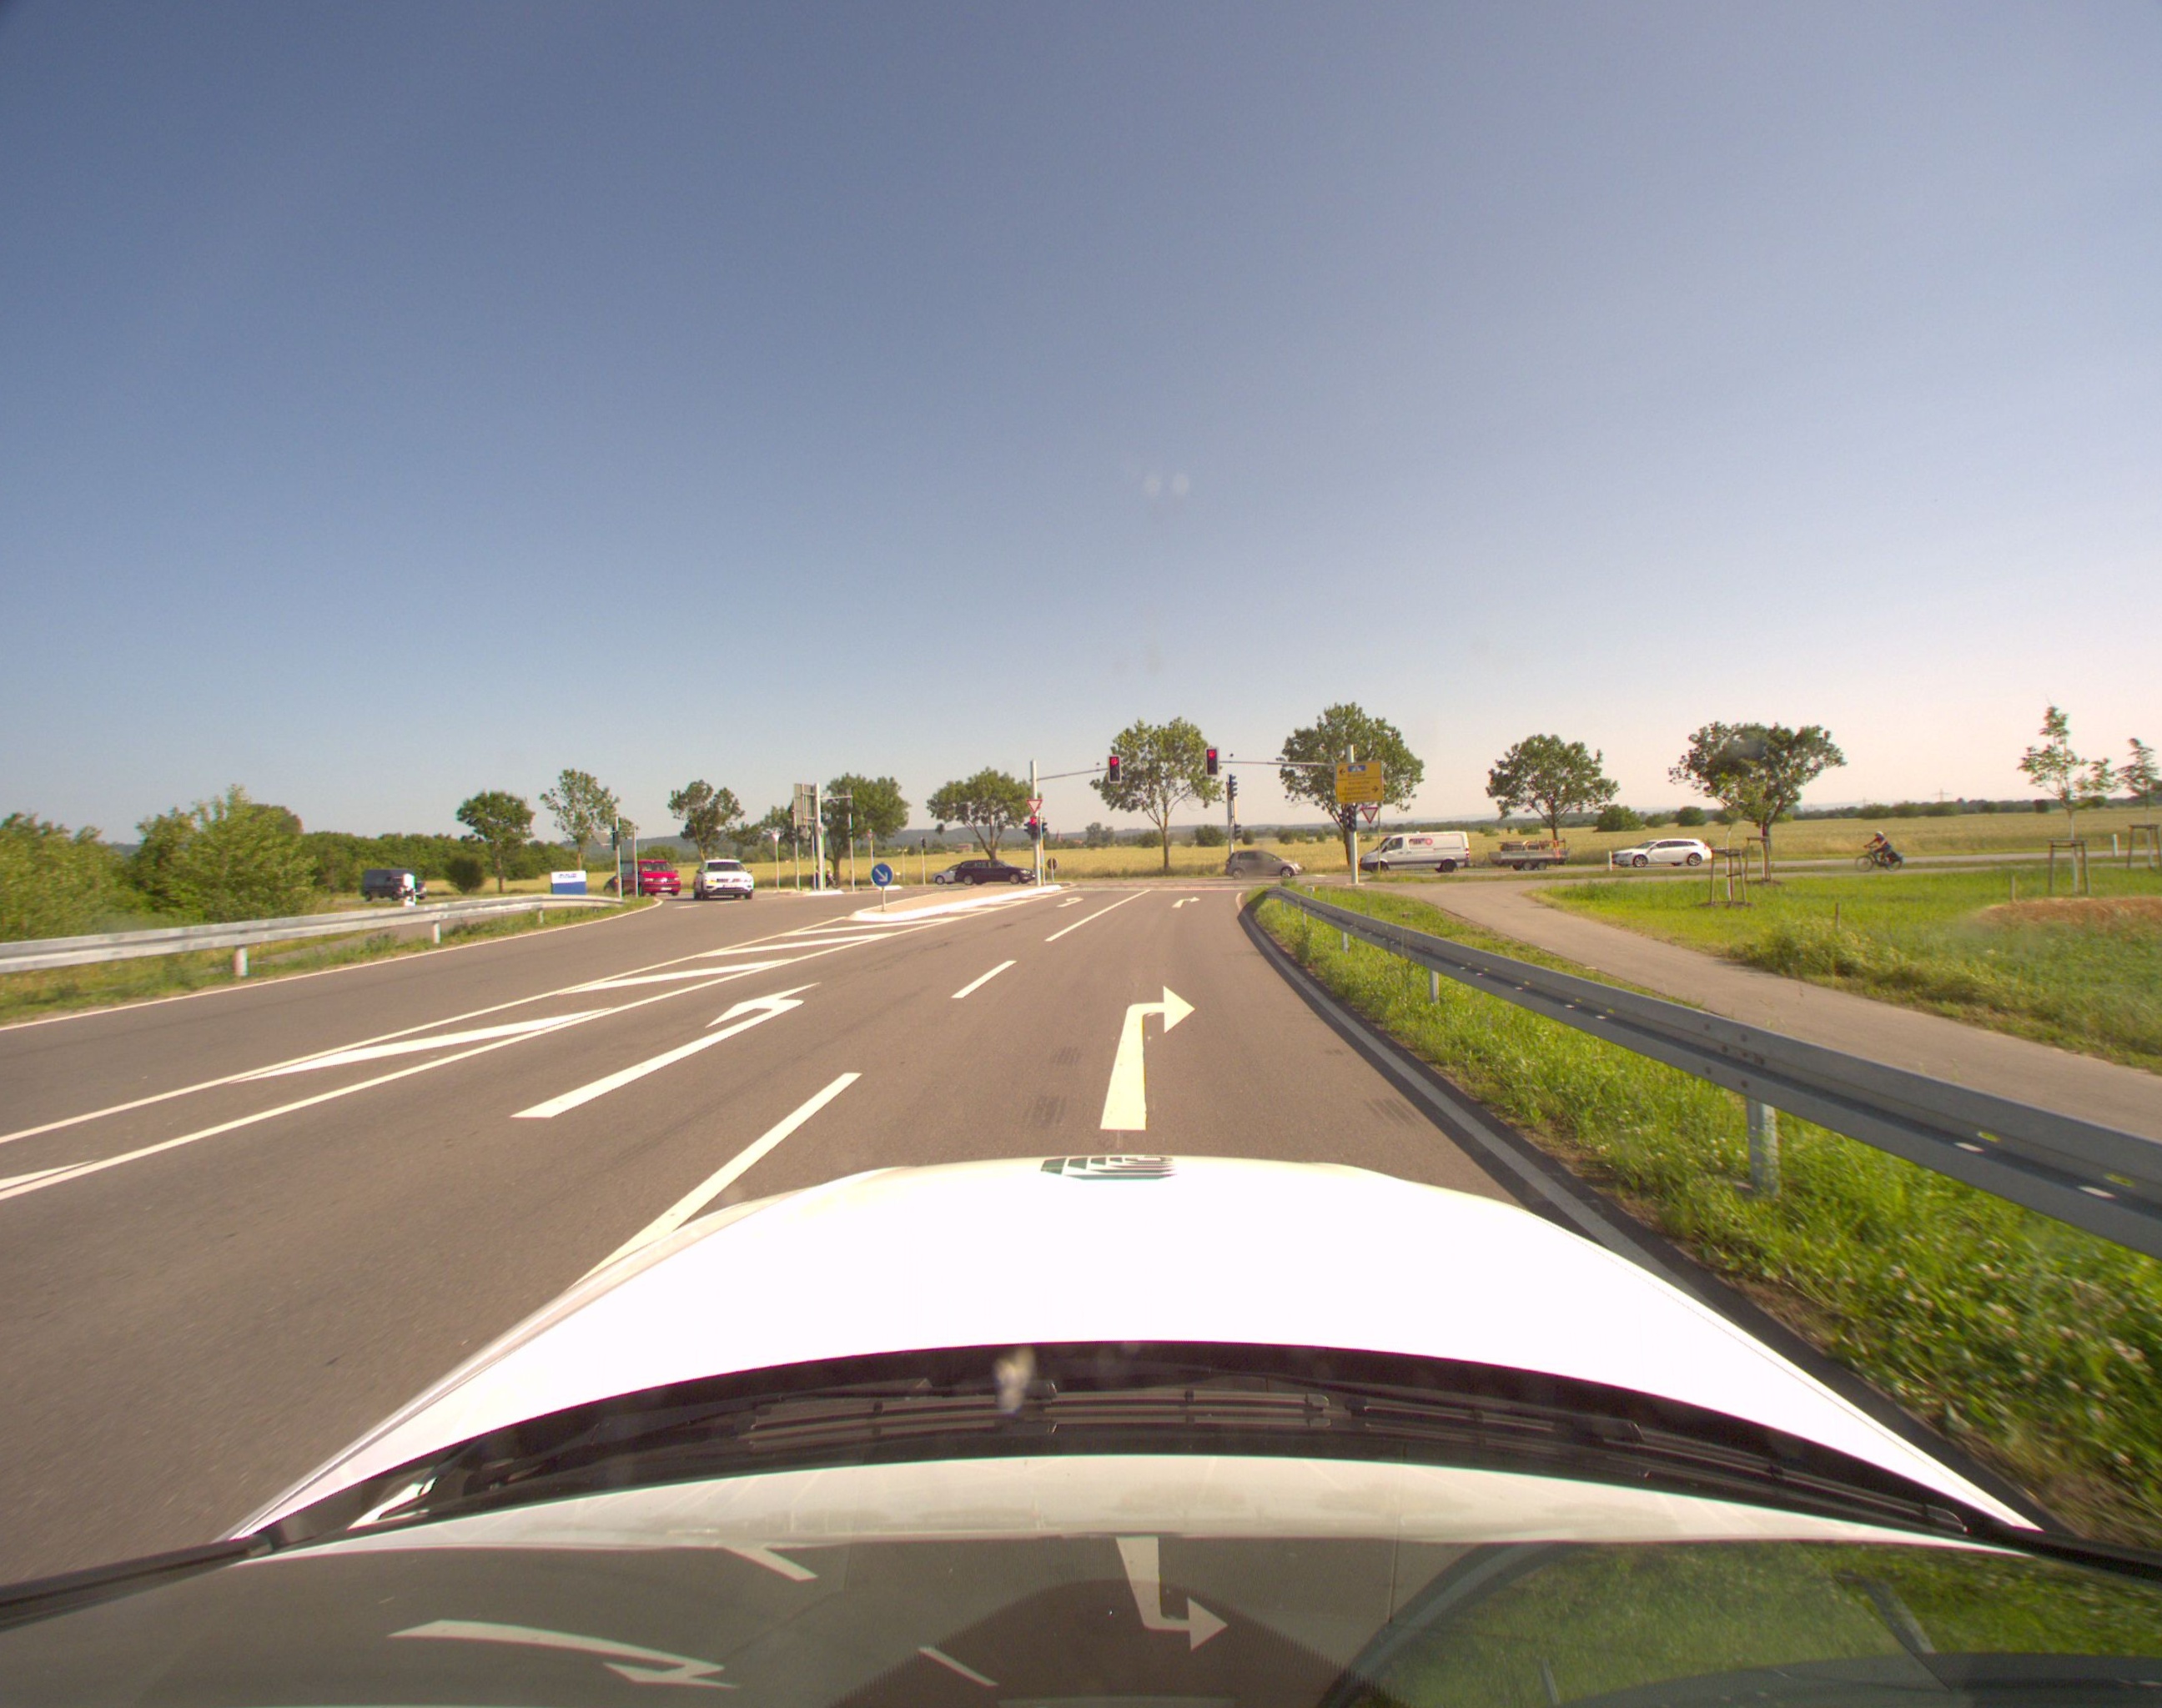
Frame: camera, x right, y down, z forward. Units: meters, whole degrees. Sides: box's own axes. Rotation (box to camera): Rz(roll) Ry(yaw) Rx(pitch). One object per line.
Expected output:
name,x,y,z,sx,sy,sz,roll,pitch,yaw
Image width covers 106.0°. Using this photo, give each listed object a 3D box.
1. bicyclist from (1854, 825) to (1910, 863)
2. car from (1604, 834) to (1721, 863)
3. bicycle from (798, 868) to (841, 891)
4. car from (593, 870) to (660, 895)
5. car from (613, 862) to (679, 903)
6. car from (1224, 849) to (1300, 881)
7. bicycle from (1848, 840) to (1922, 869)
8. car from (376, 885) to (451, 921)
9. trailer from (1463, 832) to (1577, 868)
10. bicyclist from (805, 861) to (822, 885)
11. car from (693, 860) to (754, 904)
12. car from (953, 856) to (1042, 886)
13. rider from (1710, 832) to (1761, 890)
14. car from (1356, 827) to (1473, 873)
bicyclist,34.531,-0.437,35.113,1.272,1.601,1.168,-1,1,7
car,31.762,-0.292,44.608,4.842,1.510,2.004,0,-1,7
bicycle,-16.562,1.602,51.549,2.478,1.397,0.733,0,-1,6
car,-30.571,1.930,54.786,3.698,1.457,1.737,-3,1,17
car,-23.418,1.468,43.759,1.850,1.940,4.866,-3,2,-43
car,9.782,0.598,44.201,3.932,1.668,1.768,0,-1,8
bicycle,34.666,0.021,35.125,2.144,1.186,0.892,-1,-1,7
car,-51.460,3.794,62.772,5.679,2.622,2.045,-2,0,24
trailer,24.407,-0.212,45.502,5.228,1.753,1.959,-2,0,9
bicyclist,-16.924,1.209,51.562,0.804,1.489,0.759,0,-1,7
car,-14.543,1.175,32.985,1.703,1.674,4.814,0,-3,-31
car,-4.804,0.995,46.940,4.639,1.519,1.930,-2,2,14
rider,19.452,0.196,24.193,0.825,1.642,0.980,-4,2,-37
car,18.887,-0.199,46.391,5.920,2.493,2.005,0,-1,10
